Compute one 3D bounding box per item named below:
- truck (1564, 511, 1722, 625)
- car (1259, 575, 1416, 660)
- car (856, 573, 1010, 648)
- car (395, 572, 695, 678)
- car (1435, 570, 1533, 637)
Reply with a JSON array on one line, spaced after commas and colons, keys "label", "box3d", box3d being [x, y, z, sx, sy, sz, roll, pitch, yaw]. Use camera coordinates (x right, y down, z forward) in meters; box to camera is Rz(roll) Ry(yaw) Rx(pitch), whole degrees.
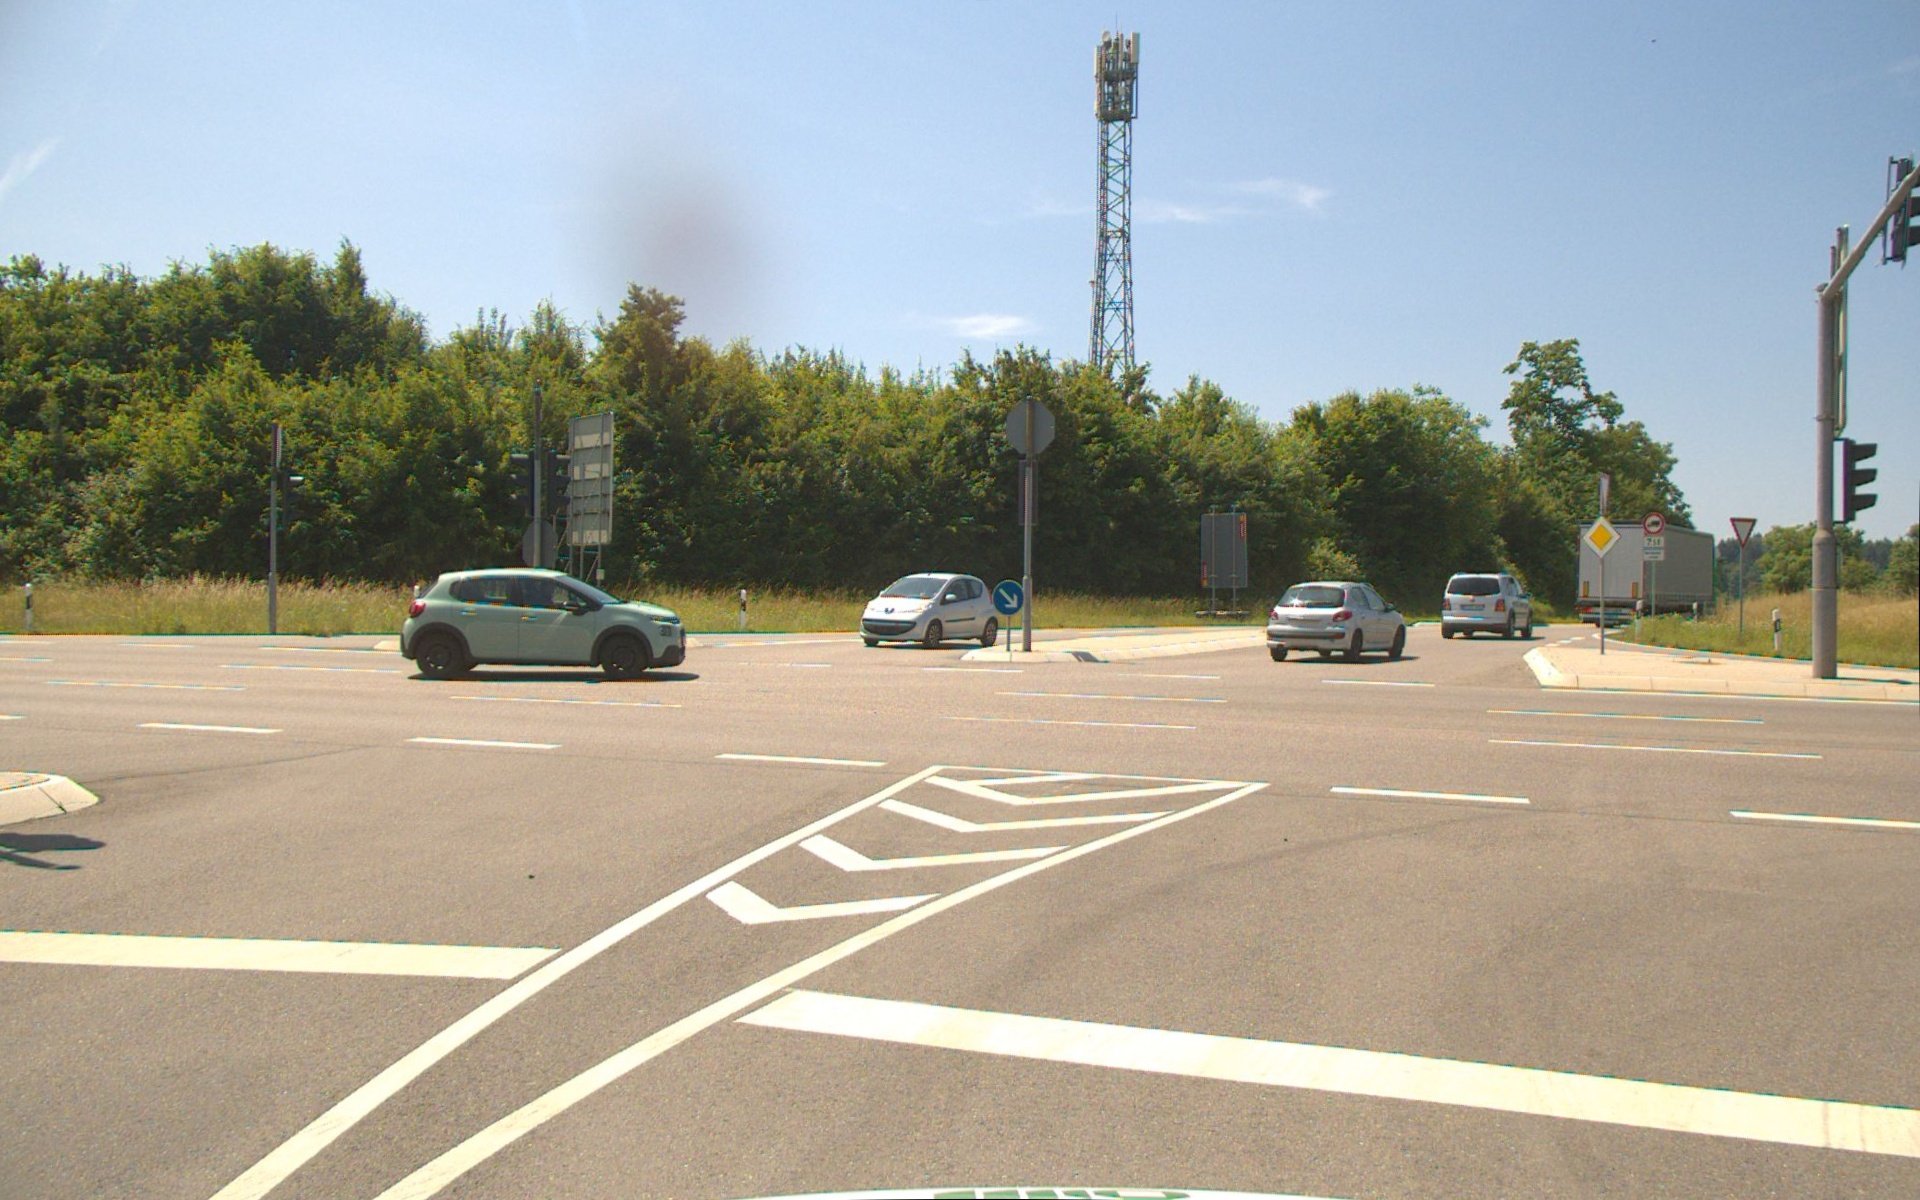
[{"label": "truck", "box3d": [28.915, -1.218, 69.352, 3.070, 4.245, 16.637, 1, 1, 33]}, {"label": "car", "box3d": [7.099, 0.273, 30.862, 1.779, 1.437, 3.776, 1, 2, 31]}, {"label": "car", "box3d": [-0.495, 0.166, 33.641, 1.536, 1.394, 3.524, 1, 2, 30]}, {"label": "car", "box3d": [-5.831, 0.331, 23.602, 3.895, 1.428, 1.733, 0, 1, -4]}, {"label": "car", "box3d": [13.718, 0.047, 43.135, 1.778, 1.653, 4.055, 0, 1, 28]}]
